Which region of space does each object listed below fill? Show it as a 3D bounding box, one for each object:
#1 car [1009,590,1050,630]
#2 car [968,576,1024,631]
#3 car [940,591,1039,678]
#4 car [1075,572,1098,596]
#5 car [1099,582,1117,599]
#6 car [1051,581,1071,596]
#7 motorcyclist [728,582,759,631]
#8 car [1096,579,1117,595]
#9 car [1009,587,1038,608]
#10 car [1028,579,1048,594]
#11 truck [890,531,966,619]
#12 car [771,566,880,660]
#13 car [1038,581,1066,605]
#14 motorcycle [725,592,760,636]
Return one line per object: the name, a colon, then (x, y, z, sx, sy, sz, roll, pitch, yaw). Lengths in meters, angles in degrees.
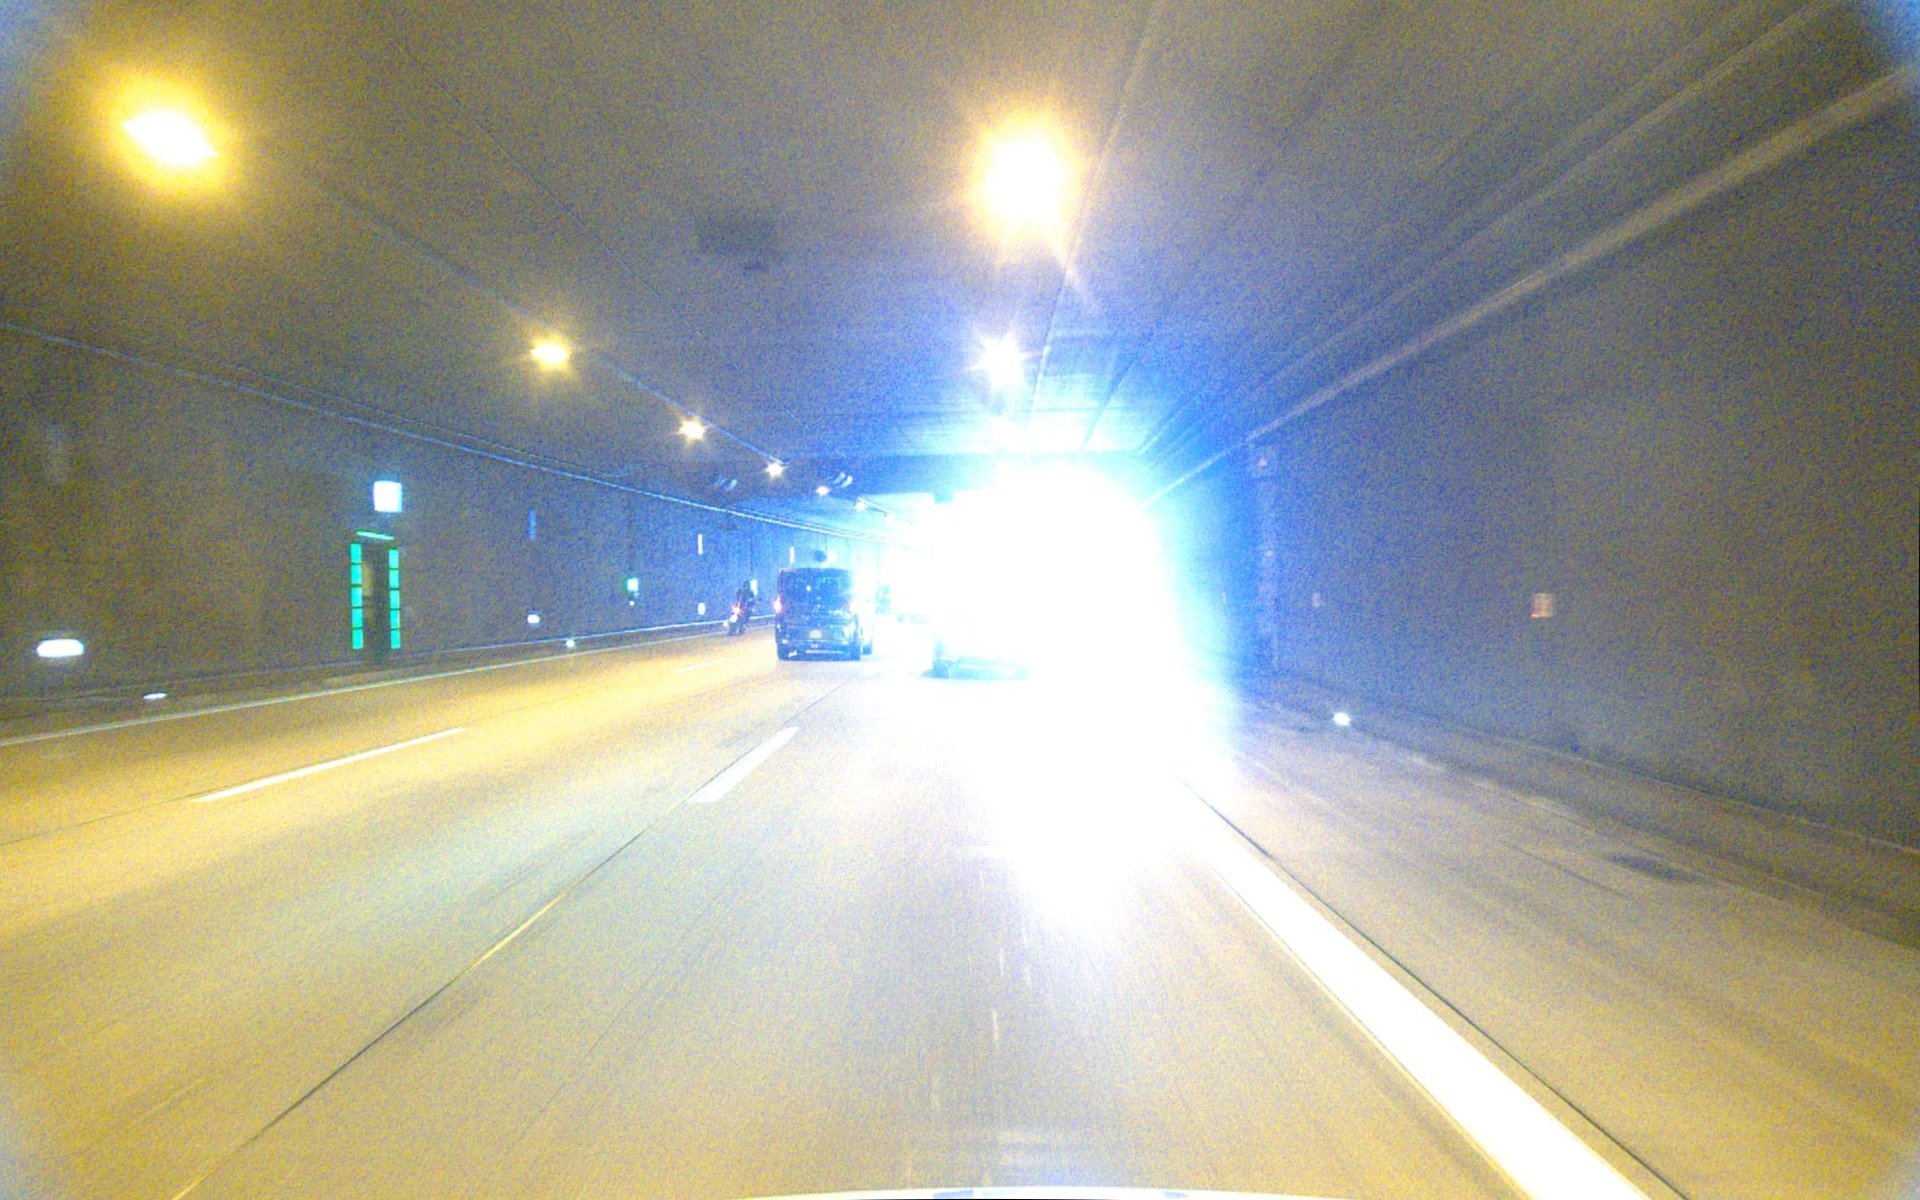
car: (3.378, 0.491, 79.817, 1.909, 1.803, 4.001, 0, -2, 3)
car: (1.303, 0.115, 57.901, 1.818, 1.887, 4.002, 0, 0, 3)
car: (0.565, 0.592, 30.639, 1.706, 1.489, 3.872, 0, 1, 1)
car: (11.603, -1.456, 151.758, 1.952, 2.049, 4.000, 0, -2, 2)
car: (16.614, -1.055, 185.518, 1.890, 1.671, 4.003, 2, 0, 6)
car: (12.324, -1.395, 201.762, 1.889, 1.671, 4.003, 0, -2, 11)
motorcyclist: (-6.703, 0.219, 51.170, 0.761, 1.478, 1.069, 0, -2, 3)
car: (15.401, -1.313, 173.702, 1.889, 1.671, 4.003, 0, 0, 10)
car: (5.340, -0.212, 137.779, 1.951, 1.660, 4.003, 0, -1, 9)
car: (8.794, -1.554, 185.904, 1.889, 1.671, 4.003, 0, 0, 7)
truck: (-1.340, -1.068, 73.443, 2.976, 3.737, 7.394, 0, 0, 2)
car: (-2.950, 0.261, 36.944, 1.869, 1.978, 3.873, 0, 0, 4)
car: (6.814, -0.494, 122.607, 1.890, 1.671, 4.002, 0, -2, 6)
motorcycle: (-6.718, 0.462, 51.134, 0.668, 1.320, 2.399, 0, -2, 2)
